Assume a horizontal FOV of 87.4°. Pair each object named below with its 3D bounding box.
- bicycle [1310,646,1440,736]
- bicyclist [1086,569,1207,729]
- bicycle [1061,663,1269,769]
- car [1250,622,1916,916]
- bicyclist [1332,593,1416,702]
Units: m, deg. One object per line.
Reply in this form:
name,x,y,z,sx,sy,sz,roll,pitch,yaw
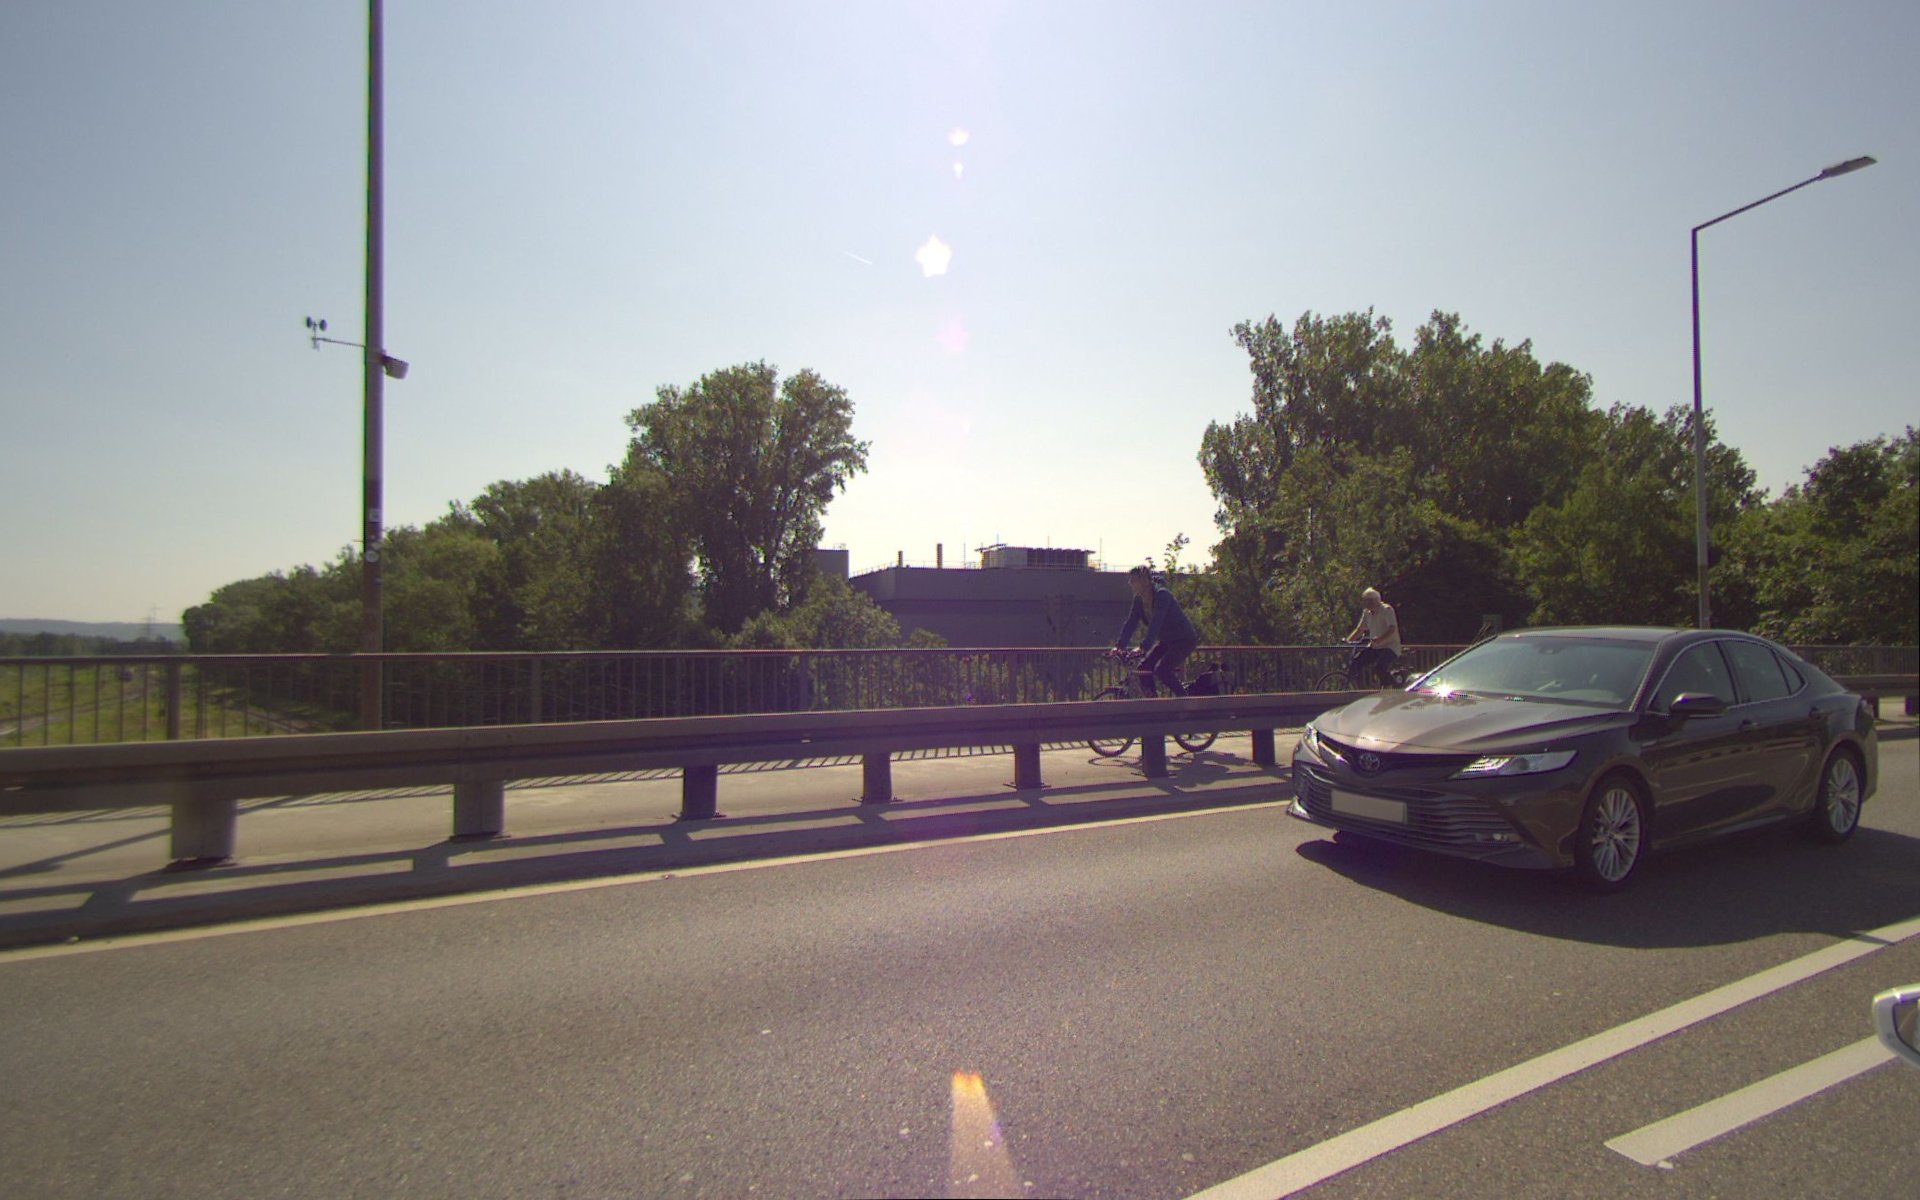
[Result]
bicycle,5.307,1.137,12.832,1.688,1.060,0.572,0,-2,-28
bicyclist,1.866,0.467,10.071,1.002,1.516,0.658,0,0,-26
bicycle,2.087,1.130,10.190,1.943,0.903,0.925,1,-1,-28
car,4.417,0.890,6.932,4.804,1.449,1.810,1,-2,-29
bicyclist,5.284,0.604,12.818,0.935,1.346,0.486,2,-1,-29
